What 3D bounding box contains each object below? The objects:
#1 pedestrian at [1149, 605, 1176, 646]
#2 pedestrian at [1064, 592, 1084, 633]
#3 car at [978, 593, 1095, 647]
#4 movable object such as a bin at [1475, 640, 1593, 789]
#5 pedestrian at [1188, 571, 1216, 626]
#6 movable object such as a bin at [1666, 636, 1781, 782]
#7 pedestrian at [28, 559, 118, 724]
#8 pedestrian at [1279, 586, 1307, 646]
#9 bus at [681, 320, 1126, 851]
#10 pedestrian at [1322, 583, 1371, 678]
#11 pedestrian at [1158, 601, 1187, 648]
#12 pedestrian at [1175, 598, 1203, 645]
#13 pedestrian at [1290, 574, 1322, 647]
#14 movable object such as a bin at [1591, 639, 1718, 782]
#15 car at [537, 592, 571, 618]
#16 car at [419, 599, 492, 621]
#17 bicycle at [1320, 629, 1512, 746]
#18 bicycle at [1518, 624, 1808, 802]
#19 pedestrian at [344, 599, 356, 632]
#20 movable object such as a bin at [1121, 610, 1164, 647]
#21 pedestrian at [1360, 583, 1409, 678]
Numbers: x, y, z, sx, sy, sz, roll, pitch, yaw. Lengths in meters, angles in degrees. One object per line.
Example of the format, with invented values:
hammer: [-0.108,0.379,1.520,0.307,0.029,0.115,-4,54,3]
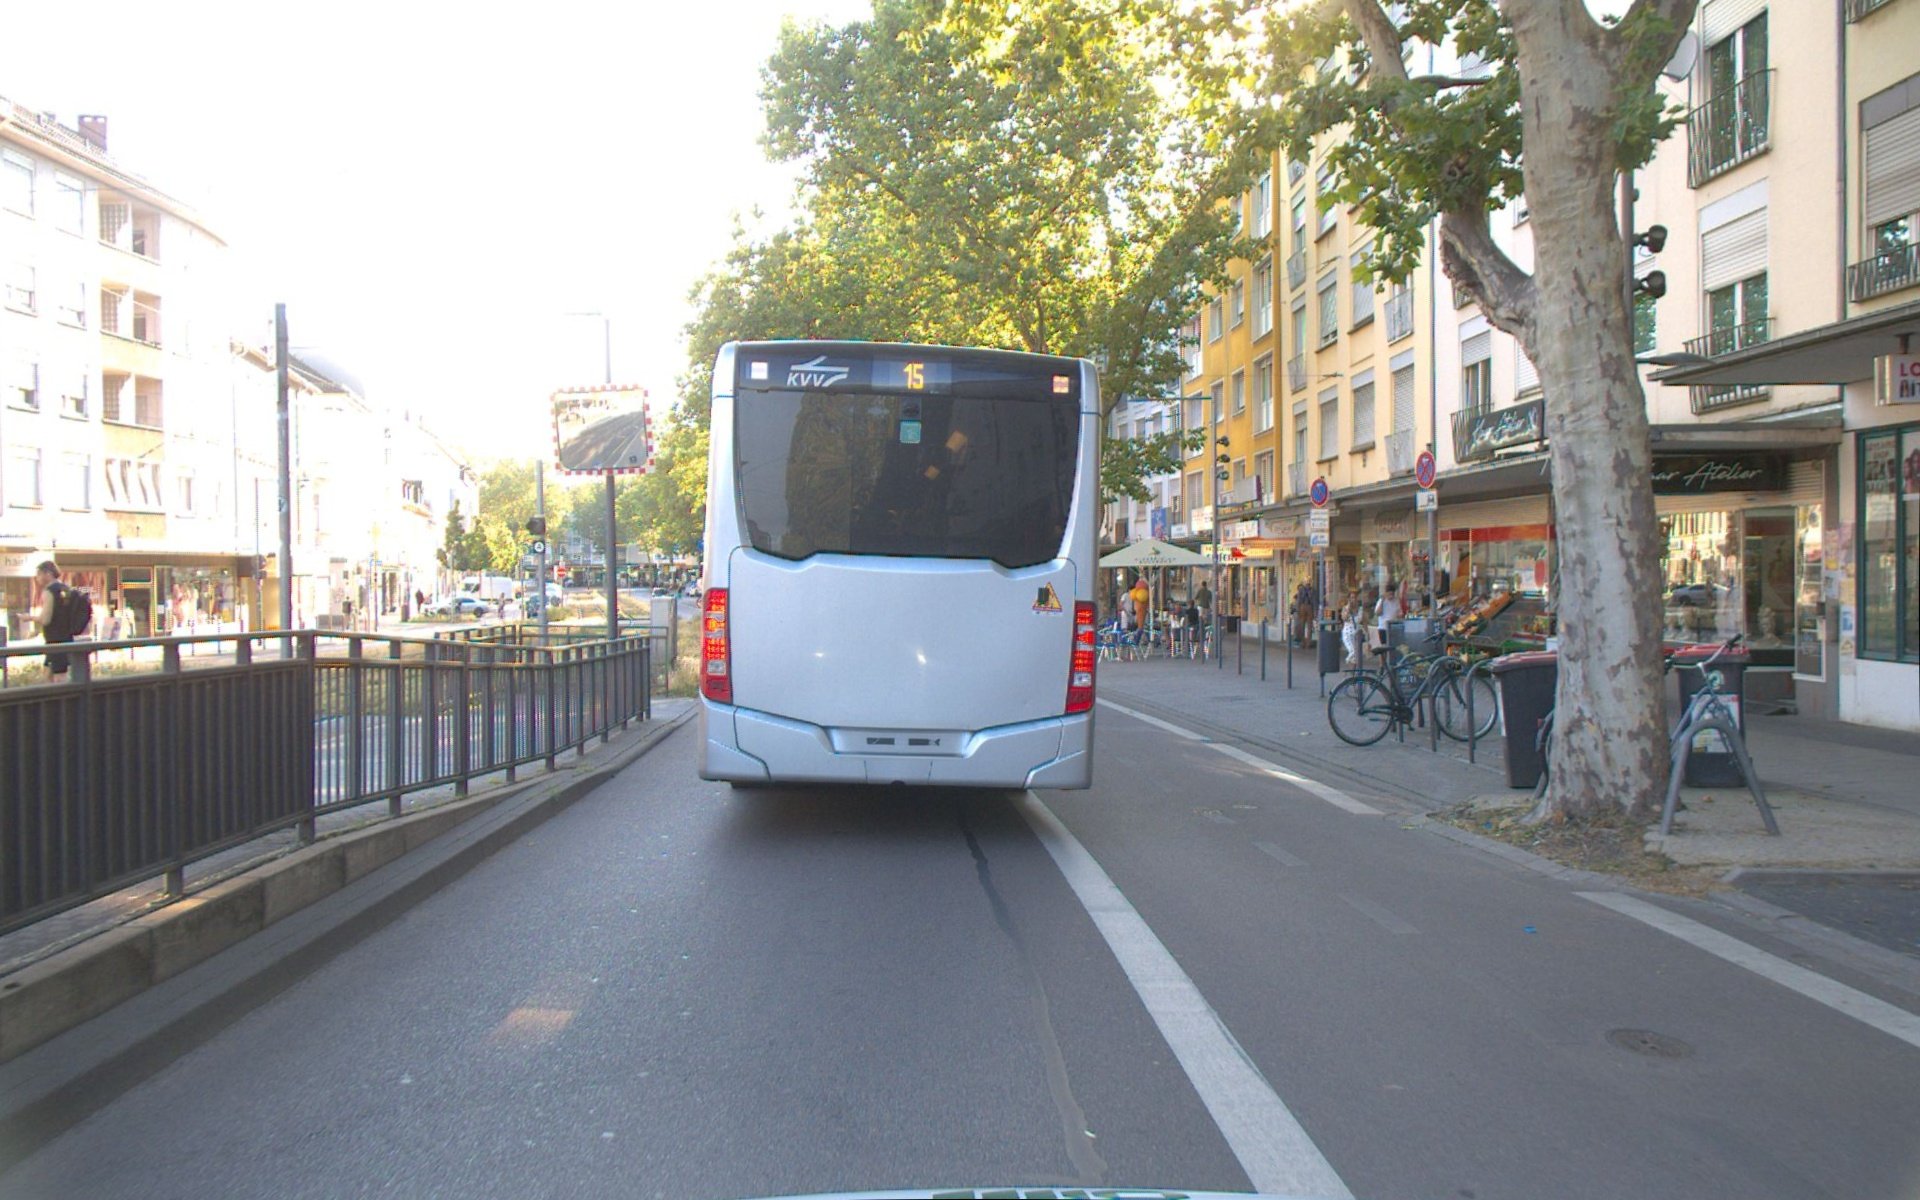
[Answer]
pedestrian: [5.727,0.706,46.830,0.572,1.135,0.749,1,0,-8]
pedestrian: [5.043,0.546,73.216,0.765,1.825,0.763,-1,0,-8]
car: [2.366,0.584,50.529,1.710,1.567,3.588,-1,0,41]
movable object such as a bin: [4.714,0.929,13.612,0.707,1.121,0.644,-5,0,6]
pedestrian: [8.253,-0.049,56.354,0.692,1.822,0.787,-4,0,-2]
movable object such as a bin: [6.023,0.850,13.073,0.707,1.090,0.644,-2,0,17]
pedestrian: [-10.351,0.476,19.317,0.727,1.881,0.589,-1,0,-7]
pedestrian: [8.861,0.413,44.004,0.612,1.573,0.637,-1,0,23]
bus: [-0.499,-0.102,13.423,2.624,3.137,7.110,1,0,-3]
pedestrian: [6.729,0.525,28.822,0.622,1.614,0.626,-3,0,-2]
pedestrian: [5.704,0.661,44.479,0.594,1.246,0.744,0,0,-8]
pedestrian: [6.402,0.595,46.206,0.572,1.297,0.757,1,0,-8]
pedestrian: [8.863,0.262,42.364,0.623,1.835,0.626,-1,0,28]
movable object such as a bin: [5.670,0.887,13.535,0.708,1.090,0.643,-3,0,-3]
car: [-26.697,0.317,108.828,1.690,1.535,3.470,-3,0,-7]
car: [-34.974,0.692,114.713,4.518,1.437,1.967,-1,0,-45]
bicycle: [4.853,0.927,17.679,1.867,1.124,0.518,-3,0,5]
bicycle: [4.808,0.775,11.392,1.682,1.137,0.745,2,-3,-1]
pedestrian: [-31.982,0.805,86.728,0.417,1.743,0.507,-1,0,-4]
movable object such as a bin: [5.275,0.811,47.702,0.917,1.041,0.831,1,0,-31]
pedestrian: [7.434,0.531,28.956,0.609,1.614,0.626,-3,0,-2]
